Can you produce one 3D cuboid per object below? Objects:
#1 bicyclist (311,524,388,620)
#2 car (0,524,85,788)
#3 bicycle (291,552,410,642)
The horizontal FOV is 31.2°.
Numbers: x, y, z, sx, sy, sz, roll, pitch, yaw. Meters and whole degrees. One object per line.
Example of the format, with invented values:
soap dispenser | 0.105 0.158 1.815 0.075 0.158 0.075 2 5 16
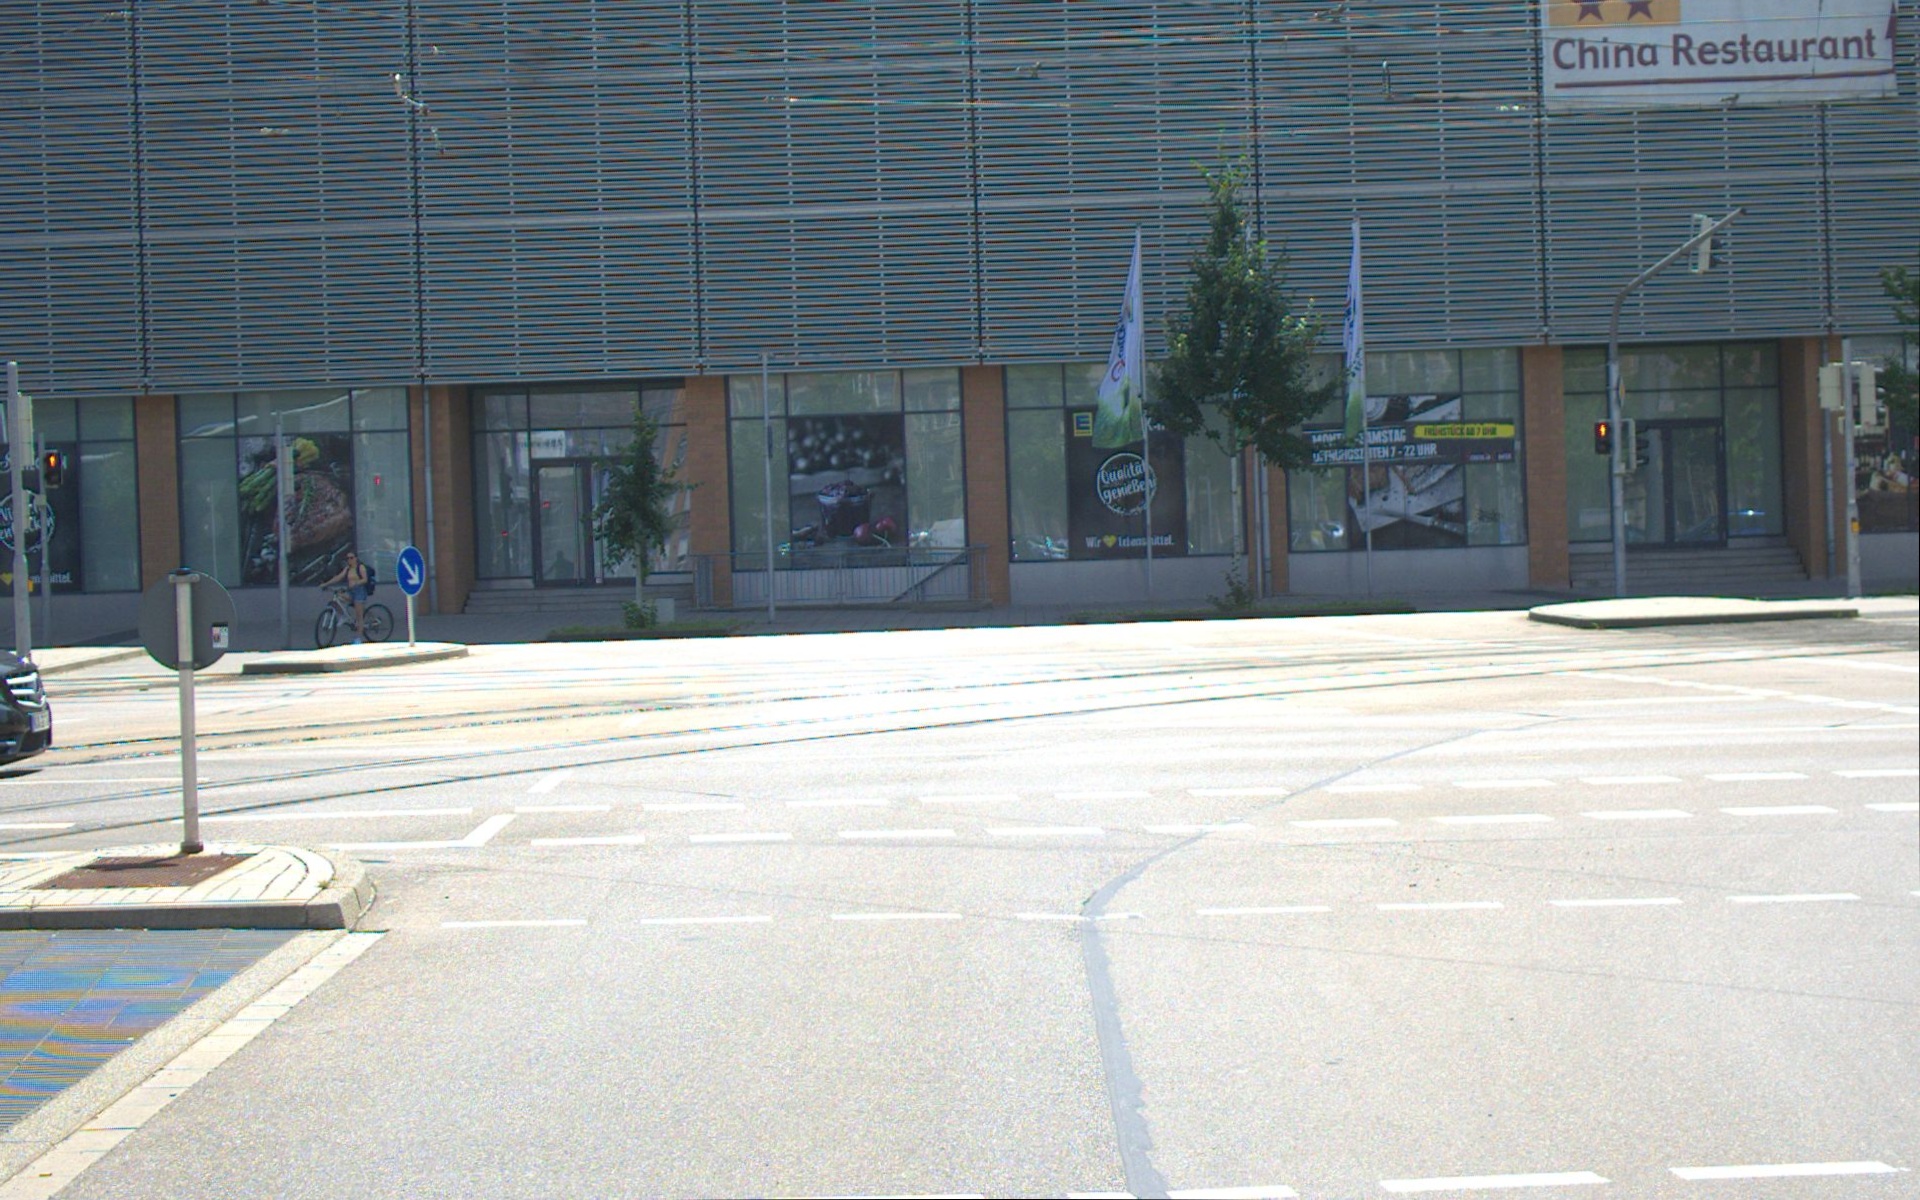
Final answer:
bicyclist | -10.169 -0.473 57.281 1.040 1.566 0.777 0 2 8
car | -7.809 0.341 21.268 4.319 1.548 2.000 -1 2 -3
bicycle | -10.151 -0.067 57.385 1.062 1.385 3.023 0 2 8
